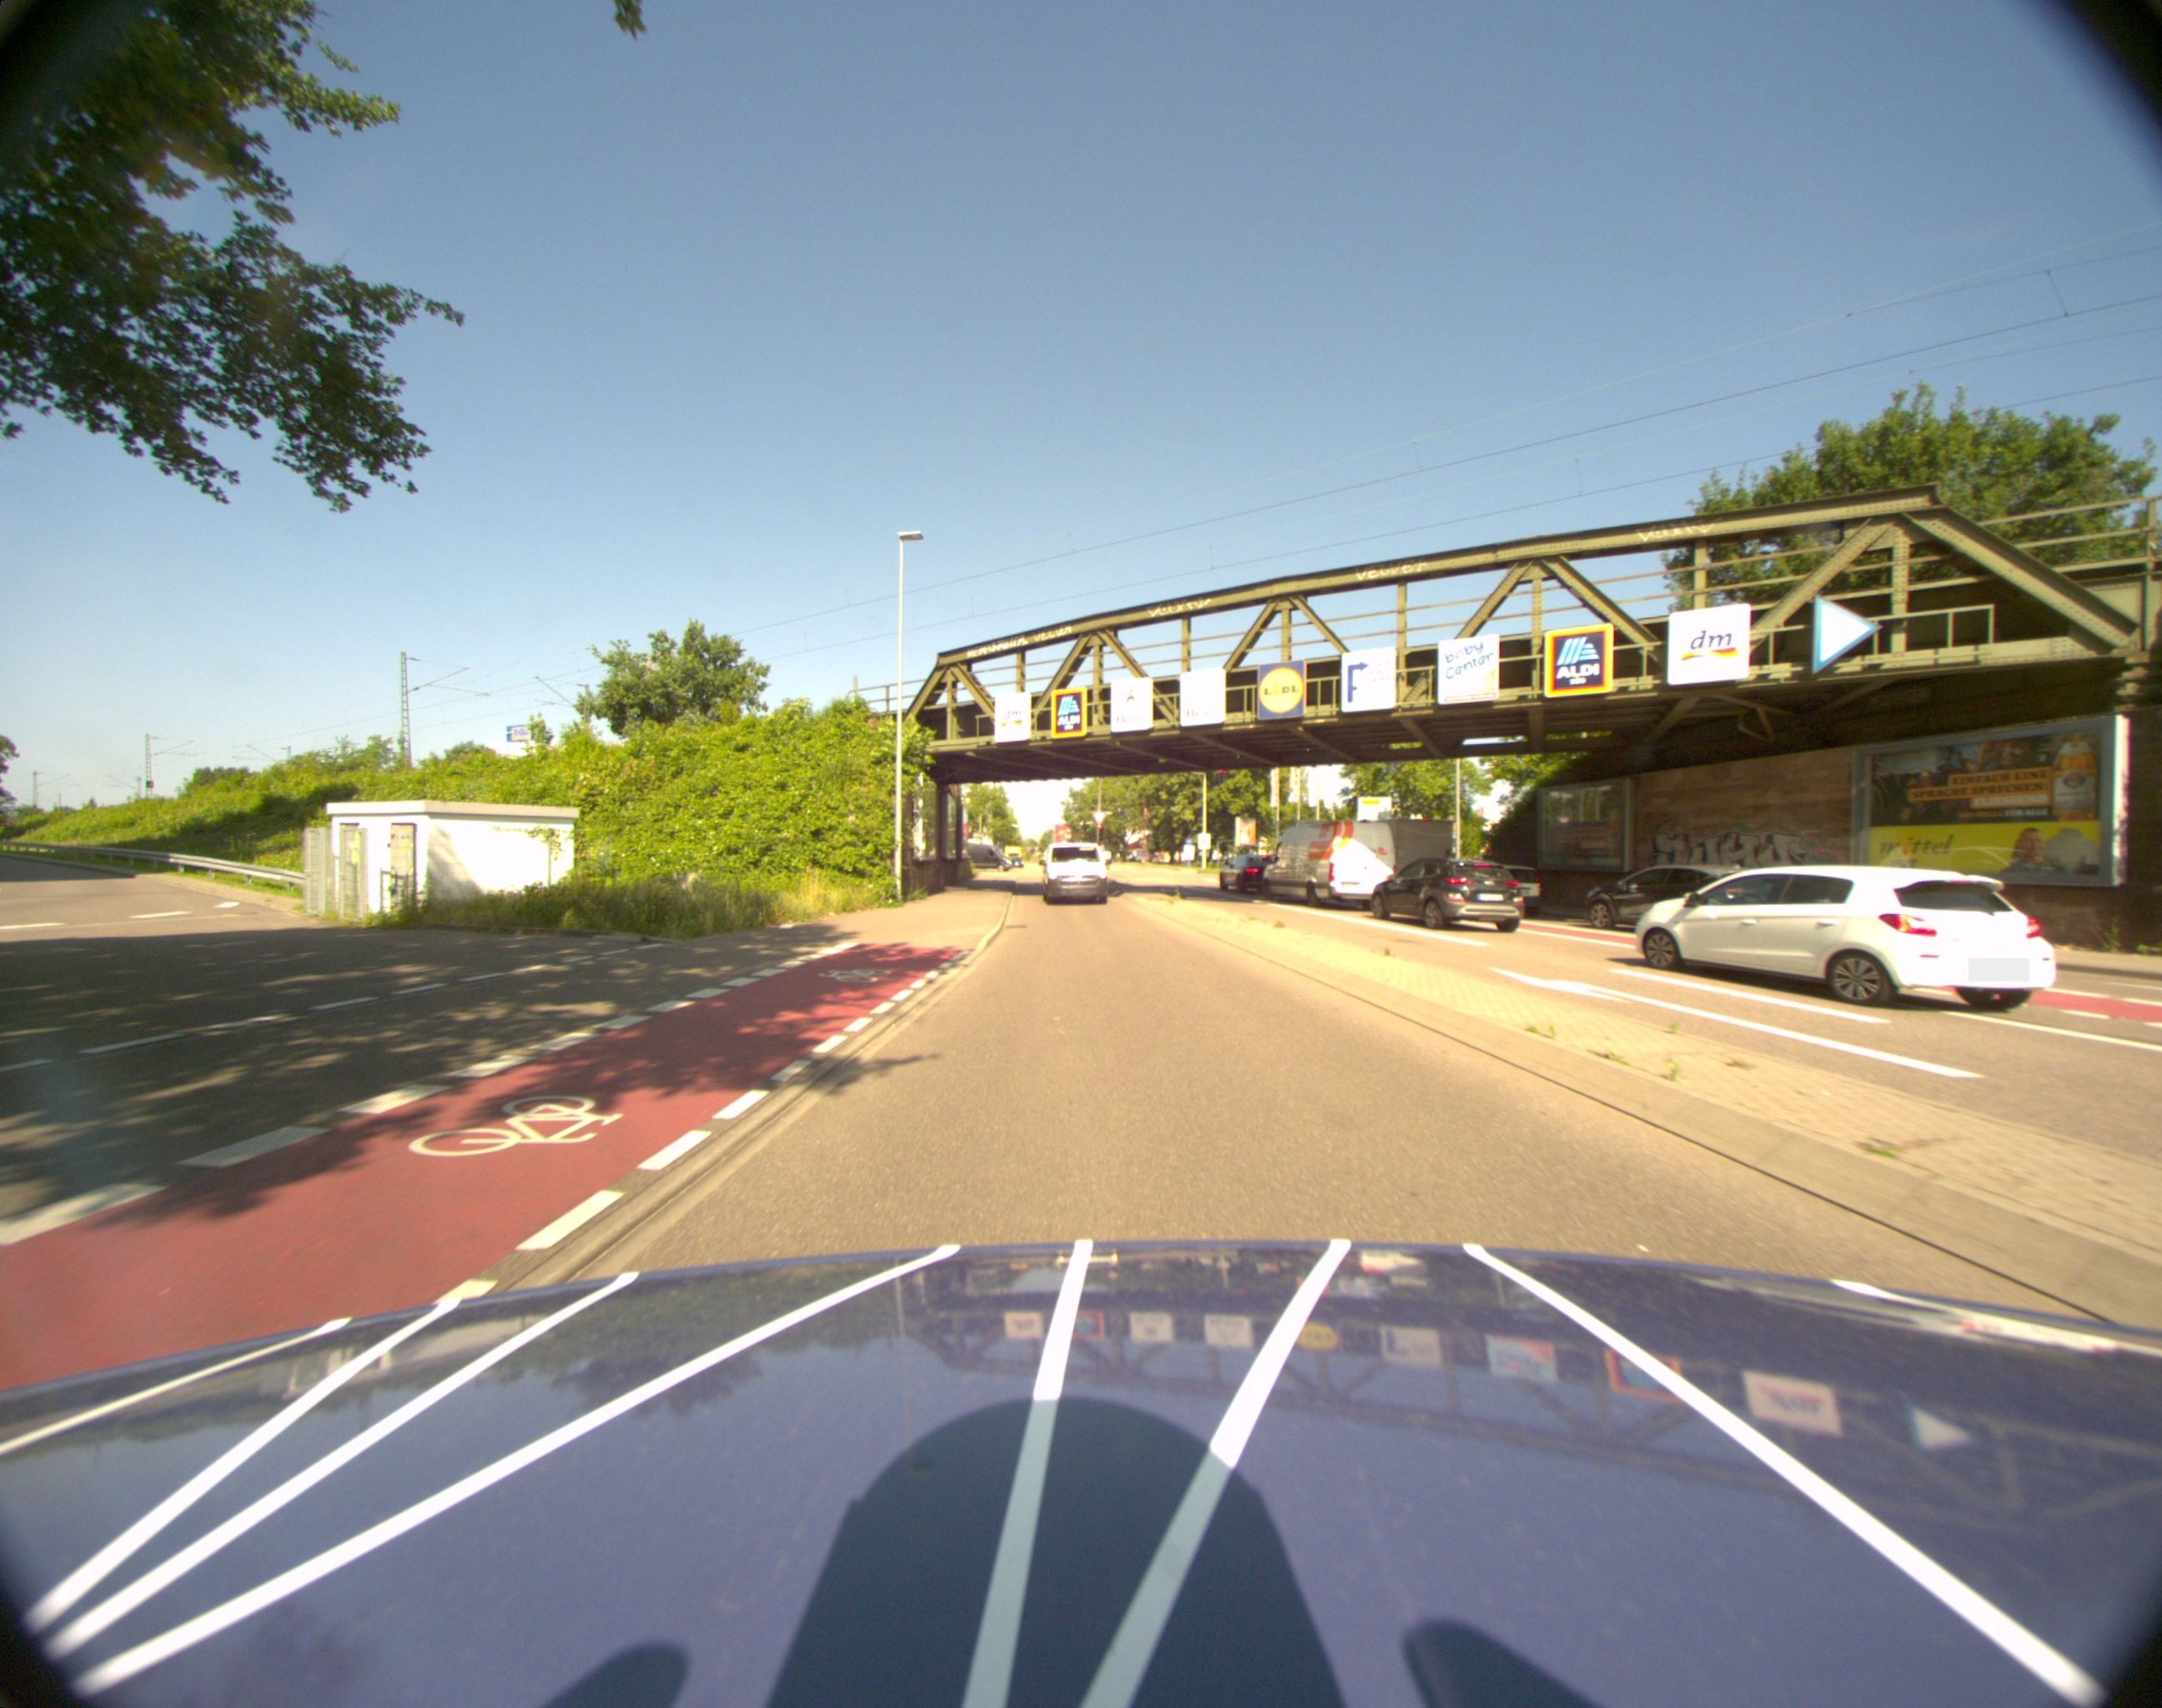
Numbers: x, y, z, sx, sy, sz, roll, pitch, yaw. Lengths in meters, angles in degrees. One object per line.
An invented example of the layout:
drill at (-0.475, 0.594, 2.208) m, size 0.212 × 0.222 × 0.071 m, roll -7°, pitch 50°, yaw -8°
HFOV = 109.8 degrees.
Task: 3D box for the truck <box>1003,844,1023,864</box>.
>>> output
truck at (-10.173, 0.040, 113.269) m, size 2.411 × 2.846 × 5.800 m, roll -2°, pitch -1°, yaw -9°

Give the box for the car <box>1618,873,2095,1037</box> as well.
car at (8.735, 1.014, 9.119) m, size 1.647 × 1.485 × 3.827 m, roll 2°, pitch -1°, yaw -4°

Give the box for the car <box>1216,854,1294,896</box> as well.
car at (7.408, 0.832, 32.865) m, size 1.999 × 1.672 × 4.948 m, roll 0°, pitch 0°, yaw -3°

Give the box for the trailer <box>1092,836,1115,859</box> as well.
trailer at (4.083, -1.125, 140.934) m, size 2.941 × 3.938 × 12.136 m, roll -2°, pitch -1°, yaw -4°

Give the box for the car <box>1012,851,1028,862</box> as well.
car at (-7.840, 0.318, 97.585) m, size 1.824 × 1.346 × 3.997 m, roll 0°, pitch 0°, yaw -8°

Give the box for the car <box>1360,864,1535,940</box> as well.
car at (8.159, 0.998, 17.380) m, size 1.773 × 1.485 × 4.176 m, roll 2°, pitch -1°, yaw -3°

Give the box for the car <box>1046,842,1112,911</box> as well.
car at (-0.150, 0.651, 24.500) m, size 1.887 × 1.982 × 4.973 m, roll 0°, pitch 0°, yaw -2°

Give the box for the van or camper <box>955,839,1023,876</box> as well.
van or camper at (-8.599, 0.329, 71.203) m, size 5.775 × 3.136 × 2.601 m, roll -2°, pitch 0°, yaw 6°

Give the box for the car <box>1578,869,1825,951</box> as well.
car at (13.114, 1.101, 16.462) m, size 1.773 × 1.485 × 4.176 m, roll 2°, pitch -1°, yaw -3°

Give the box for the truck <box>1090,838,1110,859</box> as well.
truck at (3.654, -1.004, 146.859) m, size 2.941 × 3.966 × 8.152 m, roll -2°, pitch -1°, yaw -4°

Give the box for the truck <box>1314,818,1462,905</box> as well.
truck at (11.952, 0.244, 30.352) m, size 2.348 × 3.070 × 7.065 m, roll 0°, pitch 0°, yaw -7°

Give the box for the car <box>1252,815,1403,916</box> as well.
car at (7.740, 0.318, 24.846) m, size 2.000 × 2.789 × 6.934 m, roll 2°, pitch 0°, yaw -5°

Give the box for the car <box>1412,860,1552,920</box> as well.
car at (12.602, 1.088, 24.240) m, size 1.990 × 1.679 × 4.287 m, roll 2°, pitch -1°, yaw -3°
